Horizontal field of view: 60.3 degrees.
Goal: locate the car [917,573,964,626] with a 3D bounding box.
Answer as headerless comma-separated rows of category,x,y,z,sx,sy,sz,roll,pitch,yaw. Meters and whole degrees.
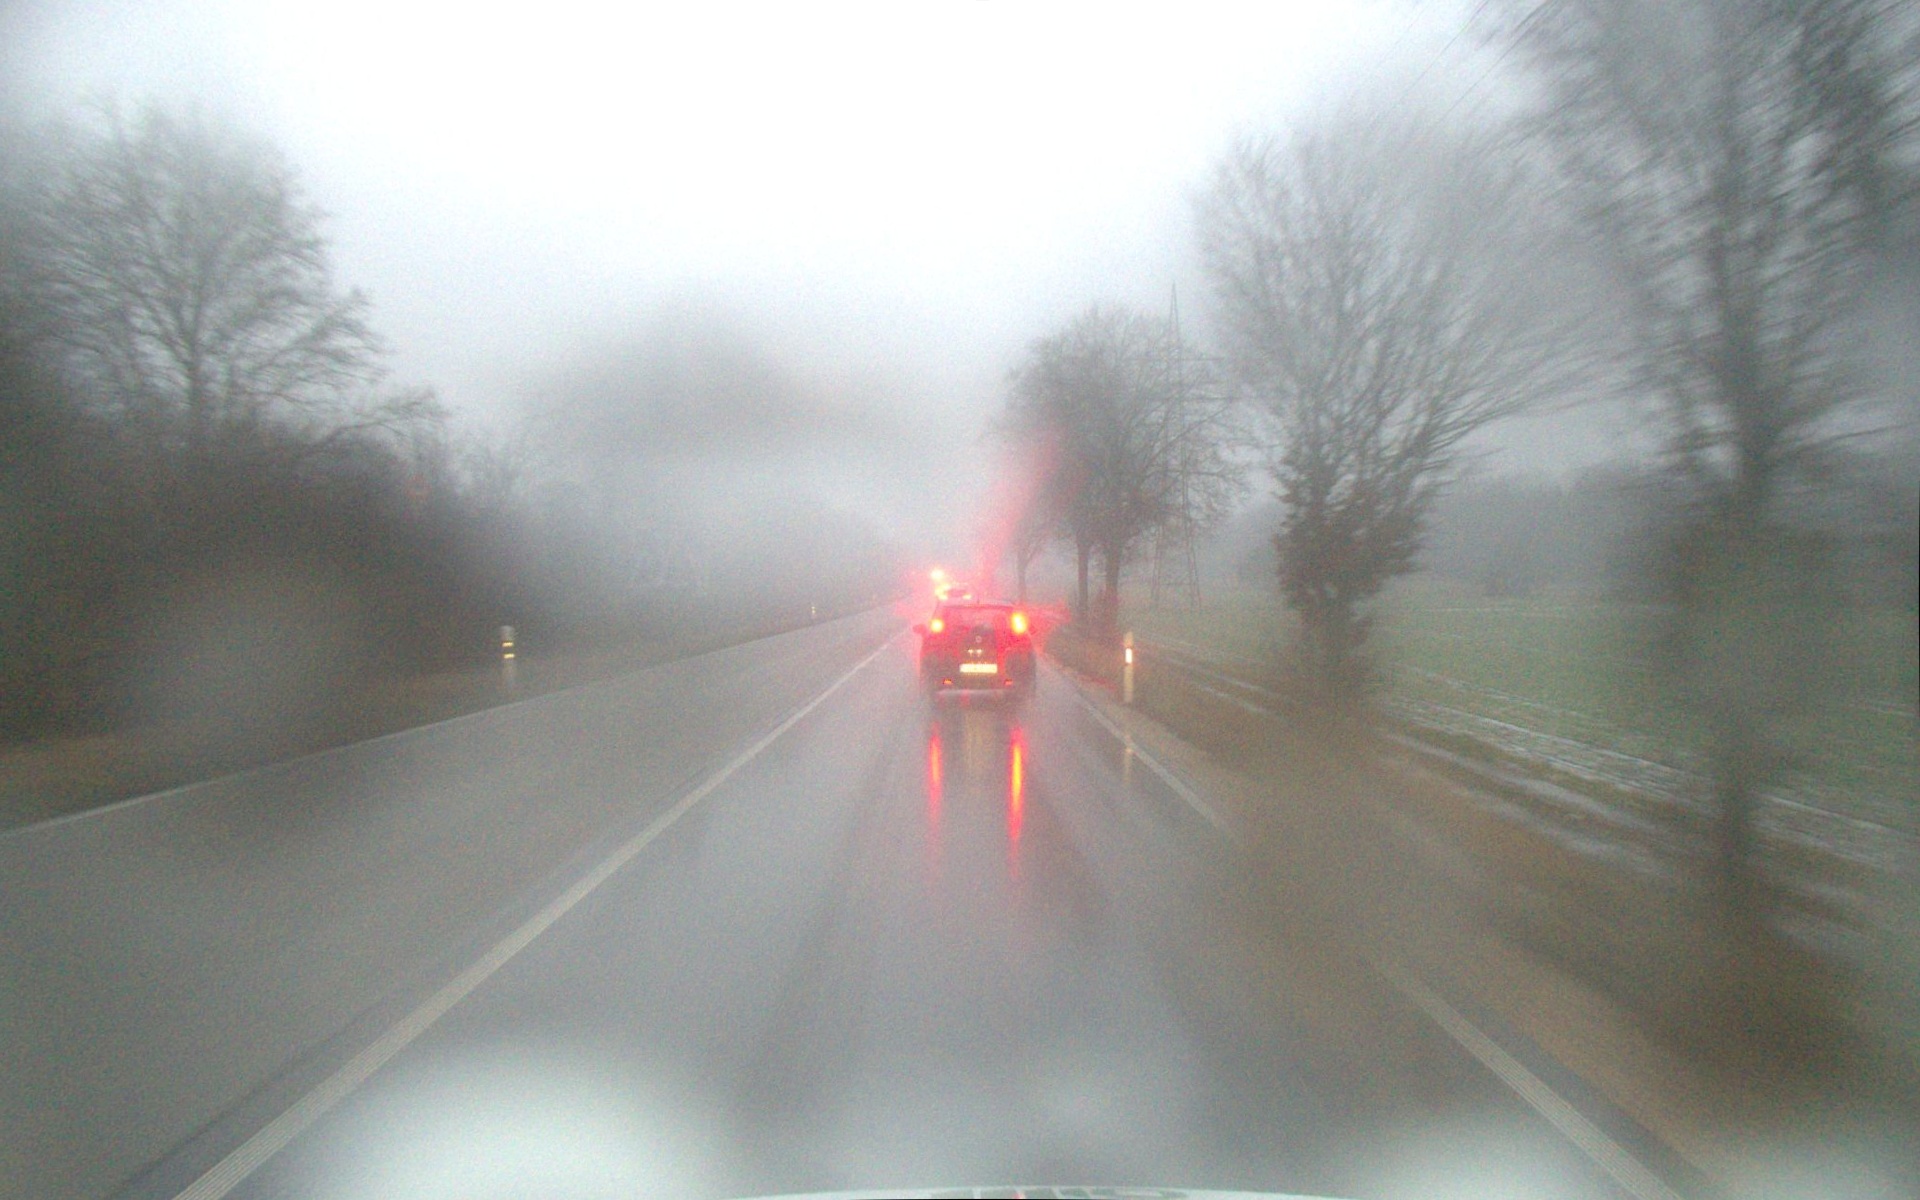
car,-0.899,-0.058,79.877,1.953,2.047,4.004,5,5,1

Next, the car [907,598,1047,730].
car,0.246,0.894,25.147,1.952,1.782,4.000,0,1,0
